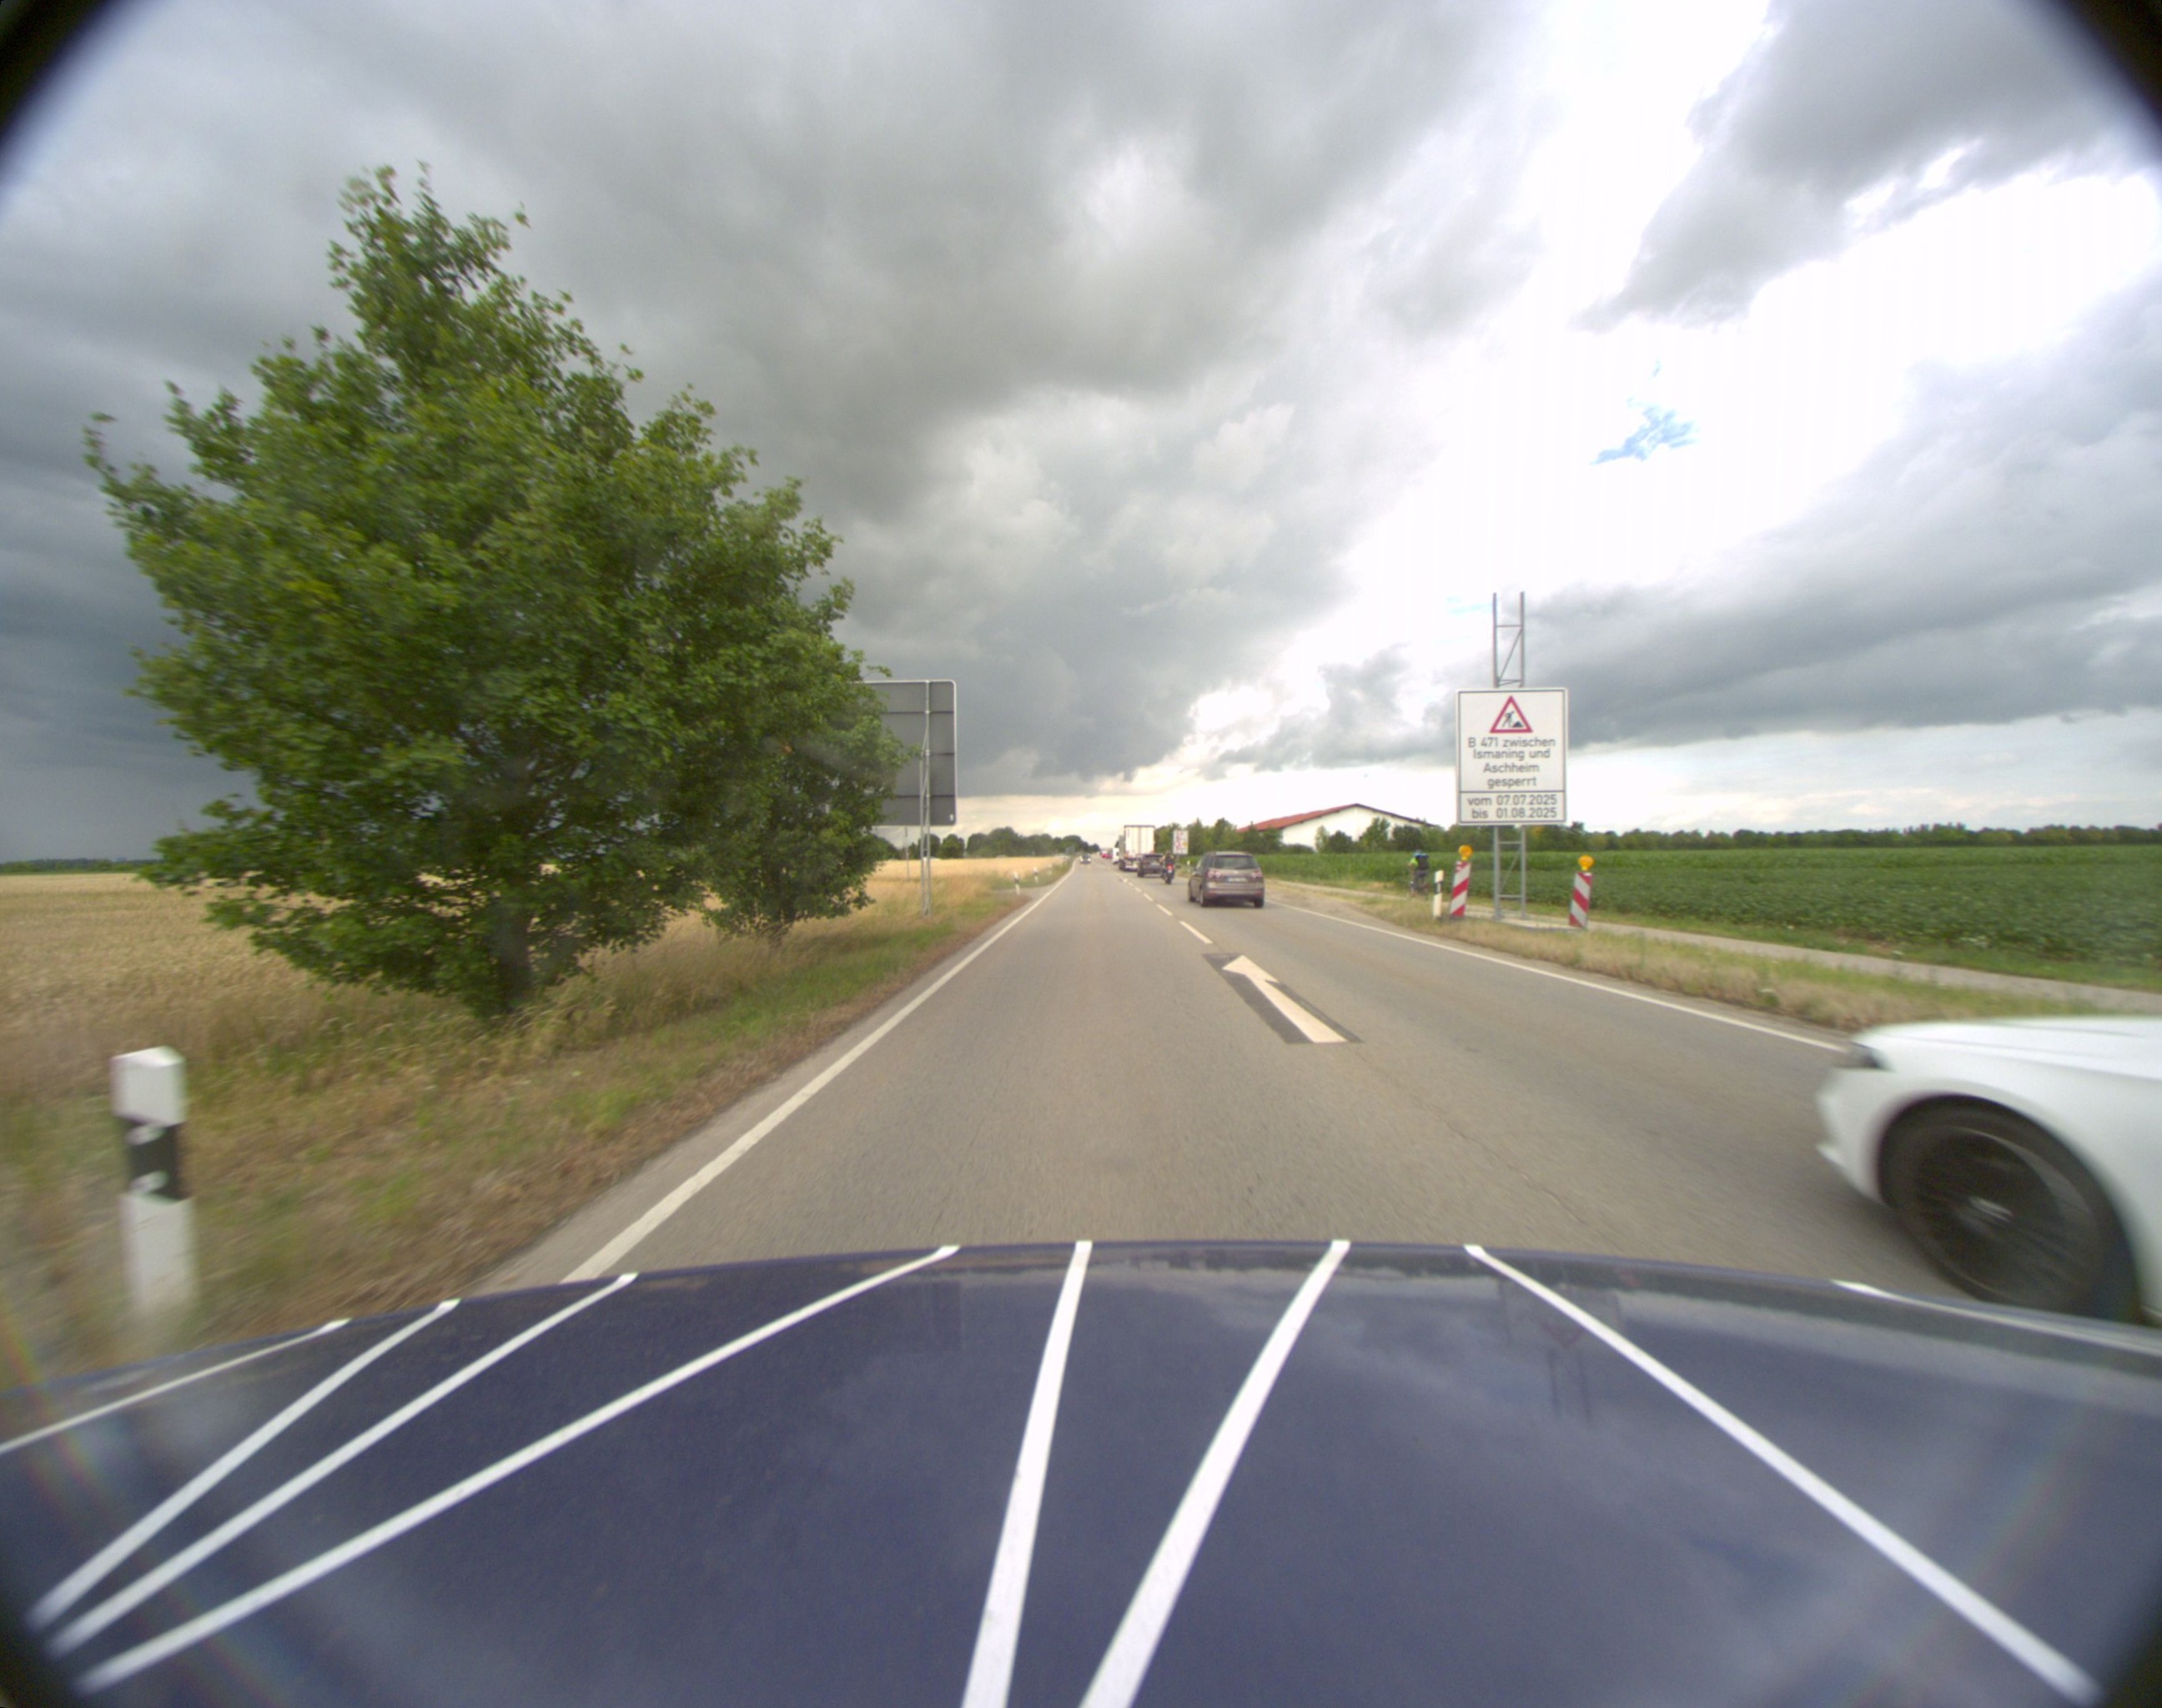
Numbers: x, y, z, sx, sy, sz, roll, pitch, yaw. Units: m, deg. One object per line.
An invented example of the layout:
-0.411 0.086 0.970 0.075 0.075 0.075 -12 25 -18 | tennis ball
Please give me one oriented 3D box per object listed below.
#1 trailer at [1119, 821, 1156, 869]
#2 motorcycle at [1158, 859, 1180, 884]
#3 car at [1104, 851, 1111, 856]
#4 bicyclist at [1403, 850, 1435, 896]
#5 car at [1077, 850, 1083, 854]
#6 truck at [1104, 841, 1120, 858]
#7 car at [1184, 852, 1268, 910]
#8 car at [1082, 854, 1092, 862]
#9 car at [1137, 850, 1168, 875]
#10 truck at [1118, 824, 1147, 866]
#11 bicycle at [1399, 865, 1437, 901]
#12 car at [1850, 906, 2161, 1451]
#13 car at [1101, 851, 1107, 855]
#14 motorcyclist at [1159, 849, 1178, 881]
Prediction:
5.092 -0.803 71.013 2.641 4.097 13.766 -1 0 1 | trailer
4.384 0.852 37.858 0.799 1.151 2.620 -1 0 1 | motorcycle
7.710 -0.188 219.863 1.869 1.352 3.826 -1 0 1 | car
11.678 0.642 26.304 0.530 1.575 1.223 1 1 1 | bicyclist
-0.312 -0.712 253.562 1.714 1.352 3.826 -1 0 1 | car
5.030 -0.763 122.716 2.419 2.643 11.431 -1 0 2 | truck
4.216 0.728 22.697 1.708 1.531 4.301 1 0 1 | car
1.057 0.725 134.164 1.869 1.352 3.826 -1 0 0 | car
4.721 0.546 50.527 1.733 1.577 4.504 0 0 1 | car
5.219 -0.858 77.663 2.658 4.097 6.023 -1 1 1 | truck
11.688 0.995 26.390 0.530 1.149 1.794 1 0 1 | bicycle
3.702 0.899 0.729 1.777 1.365 4.100 1 0 1 | car
7.554 -0.346 244.855 1.869 1.352 3.826 -1 0 1 | car
4.385 0.535 38.011 0.799 1.564 1.078 -1 1 1 | motorcyclist
